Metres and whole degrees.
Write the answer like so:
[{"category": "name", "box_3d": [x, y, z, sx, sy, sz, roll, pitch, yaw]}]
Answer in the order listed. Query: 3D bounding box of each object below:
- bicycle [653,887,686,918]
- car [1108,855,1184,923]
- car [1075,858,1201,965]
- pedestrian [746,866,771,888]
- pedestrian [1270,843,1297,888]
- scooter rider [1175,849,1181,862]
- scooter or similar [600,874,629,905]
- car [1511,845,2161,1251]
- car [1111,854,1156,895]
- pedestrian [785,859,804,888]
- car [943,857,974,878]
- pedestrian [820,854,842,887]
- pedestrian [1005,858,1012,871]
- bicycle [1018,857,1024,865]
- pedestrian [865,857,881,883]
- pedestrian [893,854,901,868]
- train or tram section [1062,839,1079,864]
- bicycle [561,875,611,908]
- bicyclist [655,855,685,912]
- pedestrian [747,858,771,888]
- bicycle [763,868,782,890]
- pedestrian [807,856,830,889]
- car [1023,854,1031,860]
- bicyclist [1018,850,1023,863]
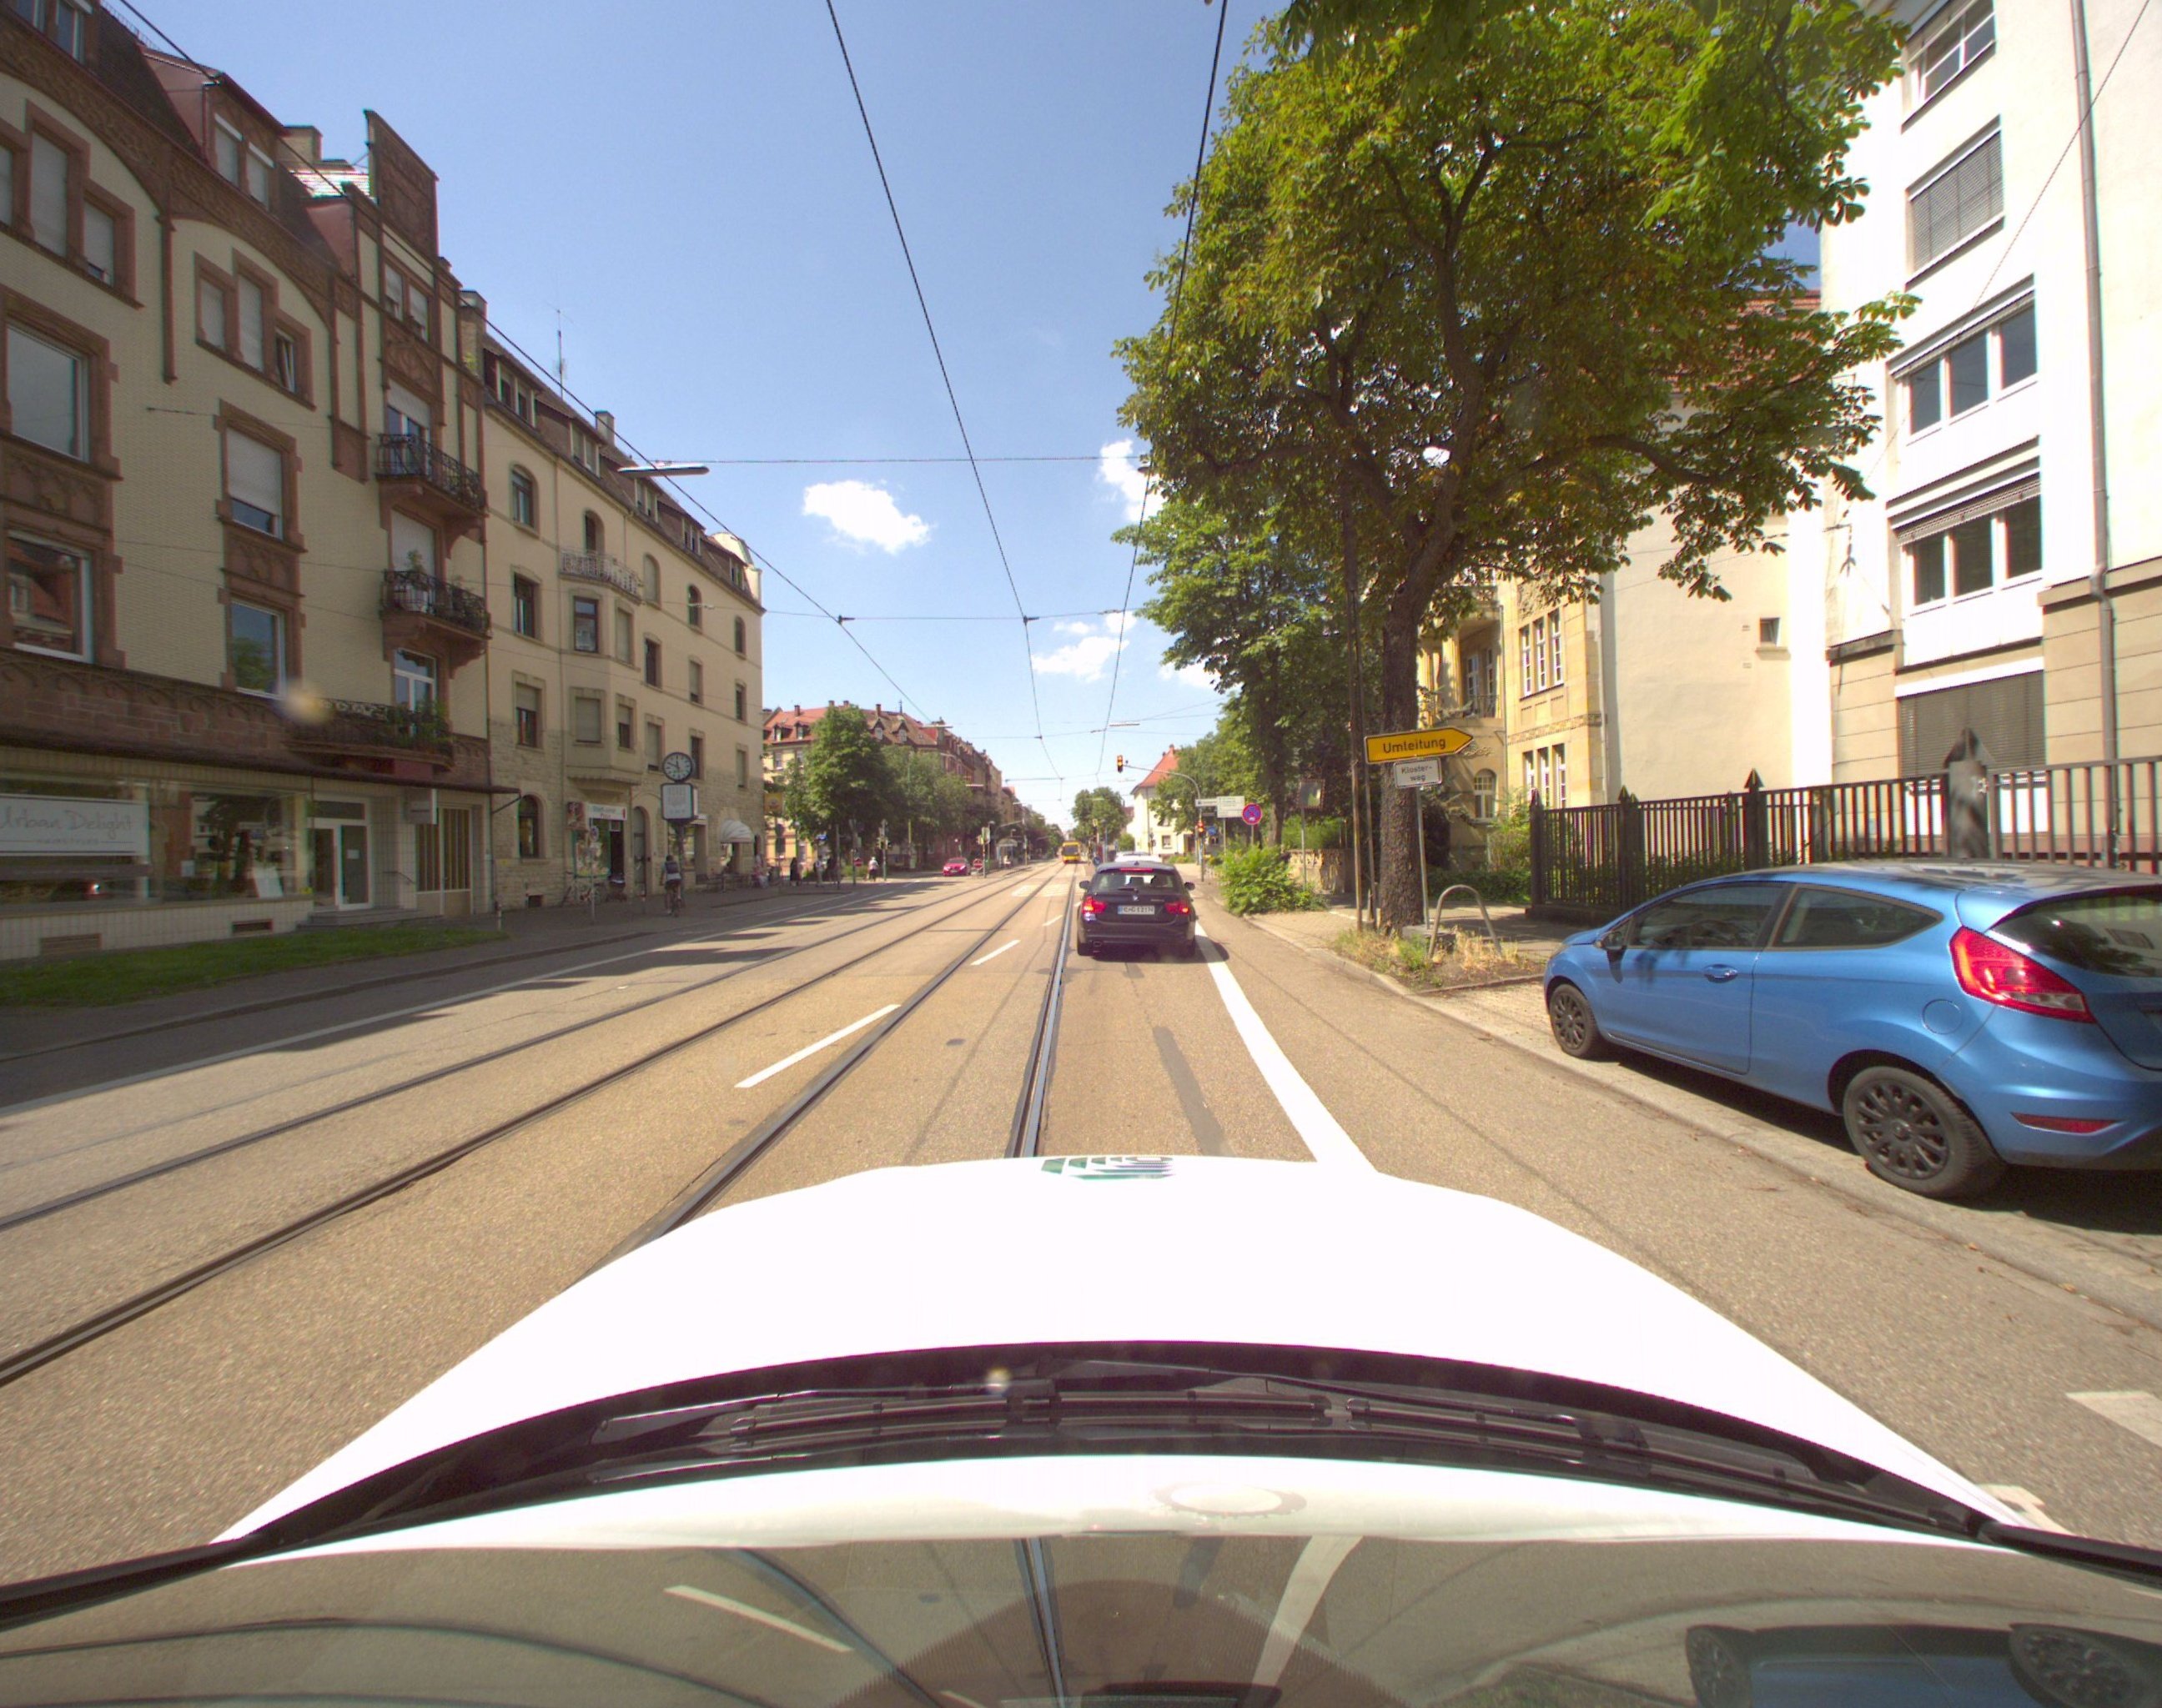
[{"category": "bicycle", "box_3d": [-12.285, 1.439, 24.277, 0.757, 0.817, 1.802, -2, 0, -31]}, {"category": "car", "box_3d": [1.528, 0.795, 20.208, 1.678, 1.484, 3.686, -2, 0, 2]}, {"category": "car", "box_3d": [0.870, 0.804, 13.524, 1.716, 1.409, 4.567, 1, 0, 2]}, {"category": "pedestrian", "box_3d": [-16.643, 1.196, 41.998, 0.912, 1.077, 0.883, -2, 0, 1]}, {"category": "pedestrian", "box_3d": [7.575, 0.423, 30.488, 0.852, 1.645, 0.838, -3, -1, 8]}, {"category": "scooter rider", "box_3d": [12.605, 0.190, 105.869, 0.589, 1.687, 0.527, -2, 0, -6]}, {"category": "scooter or similar", "box_3d": [-16.683, 1.255, 29.118, 0.700, 1.044, 1.195, 1, -1, -41]}, {"category": "car", "box_3d": [4.517, 0.733, 4.992, 1.672, 1.443, 3.719, -4, 0, -1]}, {"category": "car", "box_3d": [2.074, 0.761, 32.289, 1.684, 1.514, 3.824, 0, 0, 3]}, {"category": "pedestrian", "box_3d": [-16.338, 1.091, 46.501, 0.861, 1.635, 1.022, -1, 0, -12]}, {"category": "car", "box_3d": [-9.579, 1.039, 63.983, 1.818, 1.413, 4.425, -3, 0, -2]}, {"category": "pedestrian", "box_3d": [-14.739, 0.981, 48.024, 0.898, 1.891, 1.164, -1, 0, -1]}, {"category": "pedestrian", "box_3d": [-6.857, 1.000, 77.400, 0.613, 1.243, 0.626, -1, 0, -6]}, {"category": "bicycle", "box_3d": [-9.314, 1.082, 125.999, 0.726, 1.101, 1.715, -2, 0, 0]}, {"category": "pedestrian", "box_3d": [-13.974, 1.060, 54.694, 0.920, 1.723, 0.833, -1, 0, -25]}, {"category": "pedestrian", "box_3d": [-22.890, 0.865, 101.099, 0.744, 1.811, 0.634, -1, 0, -37]}, {"category": "train or tram section", "box_3d": [-1.519, -0.392, 120.144, 2.183, 3.482, 8.842, -2, 0, 0]}, {"category": "bicycle", "box_3d": [-16.476, 1.240, 27.140, 0.366, 1.066, 1.473, -1, -1, 23]}, {"category": "bicyclist", "box_3d": [-12.261, 0.865, 24.285, 0.760, 1.663, 0.823, 0, -1, -28]}, {"category": "pedestrian", "box_3d": [-17.282, 1.000, 43.708, 0.915, 1.594, 0.808, -2, 0, -4]}, {"category": "bicycle", "box_3d": [-17.237, 1.404, 45.512, 0.547, 1.128, 1.663, -1, -2, -37]}, {"category": "pedestrian", "box_3d": [-14.009, 0.971, 43.478, 0.851, 1.732, 0.780, 0, 0, 31]}, {"category": "car", "box_3d": [-13.379, 0.810, 201.921, 1.787, 1.586, 3.988, 0, -1, -9]}, {"category": "bicyclist", "box_3d": [-9.335, 0.379, 125.865, 0.720, 1.870, 0.825, -2, 0, 1]}]
